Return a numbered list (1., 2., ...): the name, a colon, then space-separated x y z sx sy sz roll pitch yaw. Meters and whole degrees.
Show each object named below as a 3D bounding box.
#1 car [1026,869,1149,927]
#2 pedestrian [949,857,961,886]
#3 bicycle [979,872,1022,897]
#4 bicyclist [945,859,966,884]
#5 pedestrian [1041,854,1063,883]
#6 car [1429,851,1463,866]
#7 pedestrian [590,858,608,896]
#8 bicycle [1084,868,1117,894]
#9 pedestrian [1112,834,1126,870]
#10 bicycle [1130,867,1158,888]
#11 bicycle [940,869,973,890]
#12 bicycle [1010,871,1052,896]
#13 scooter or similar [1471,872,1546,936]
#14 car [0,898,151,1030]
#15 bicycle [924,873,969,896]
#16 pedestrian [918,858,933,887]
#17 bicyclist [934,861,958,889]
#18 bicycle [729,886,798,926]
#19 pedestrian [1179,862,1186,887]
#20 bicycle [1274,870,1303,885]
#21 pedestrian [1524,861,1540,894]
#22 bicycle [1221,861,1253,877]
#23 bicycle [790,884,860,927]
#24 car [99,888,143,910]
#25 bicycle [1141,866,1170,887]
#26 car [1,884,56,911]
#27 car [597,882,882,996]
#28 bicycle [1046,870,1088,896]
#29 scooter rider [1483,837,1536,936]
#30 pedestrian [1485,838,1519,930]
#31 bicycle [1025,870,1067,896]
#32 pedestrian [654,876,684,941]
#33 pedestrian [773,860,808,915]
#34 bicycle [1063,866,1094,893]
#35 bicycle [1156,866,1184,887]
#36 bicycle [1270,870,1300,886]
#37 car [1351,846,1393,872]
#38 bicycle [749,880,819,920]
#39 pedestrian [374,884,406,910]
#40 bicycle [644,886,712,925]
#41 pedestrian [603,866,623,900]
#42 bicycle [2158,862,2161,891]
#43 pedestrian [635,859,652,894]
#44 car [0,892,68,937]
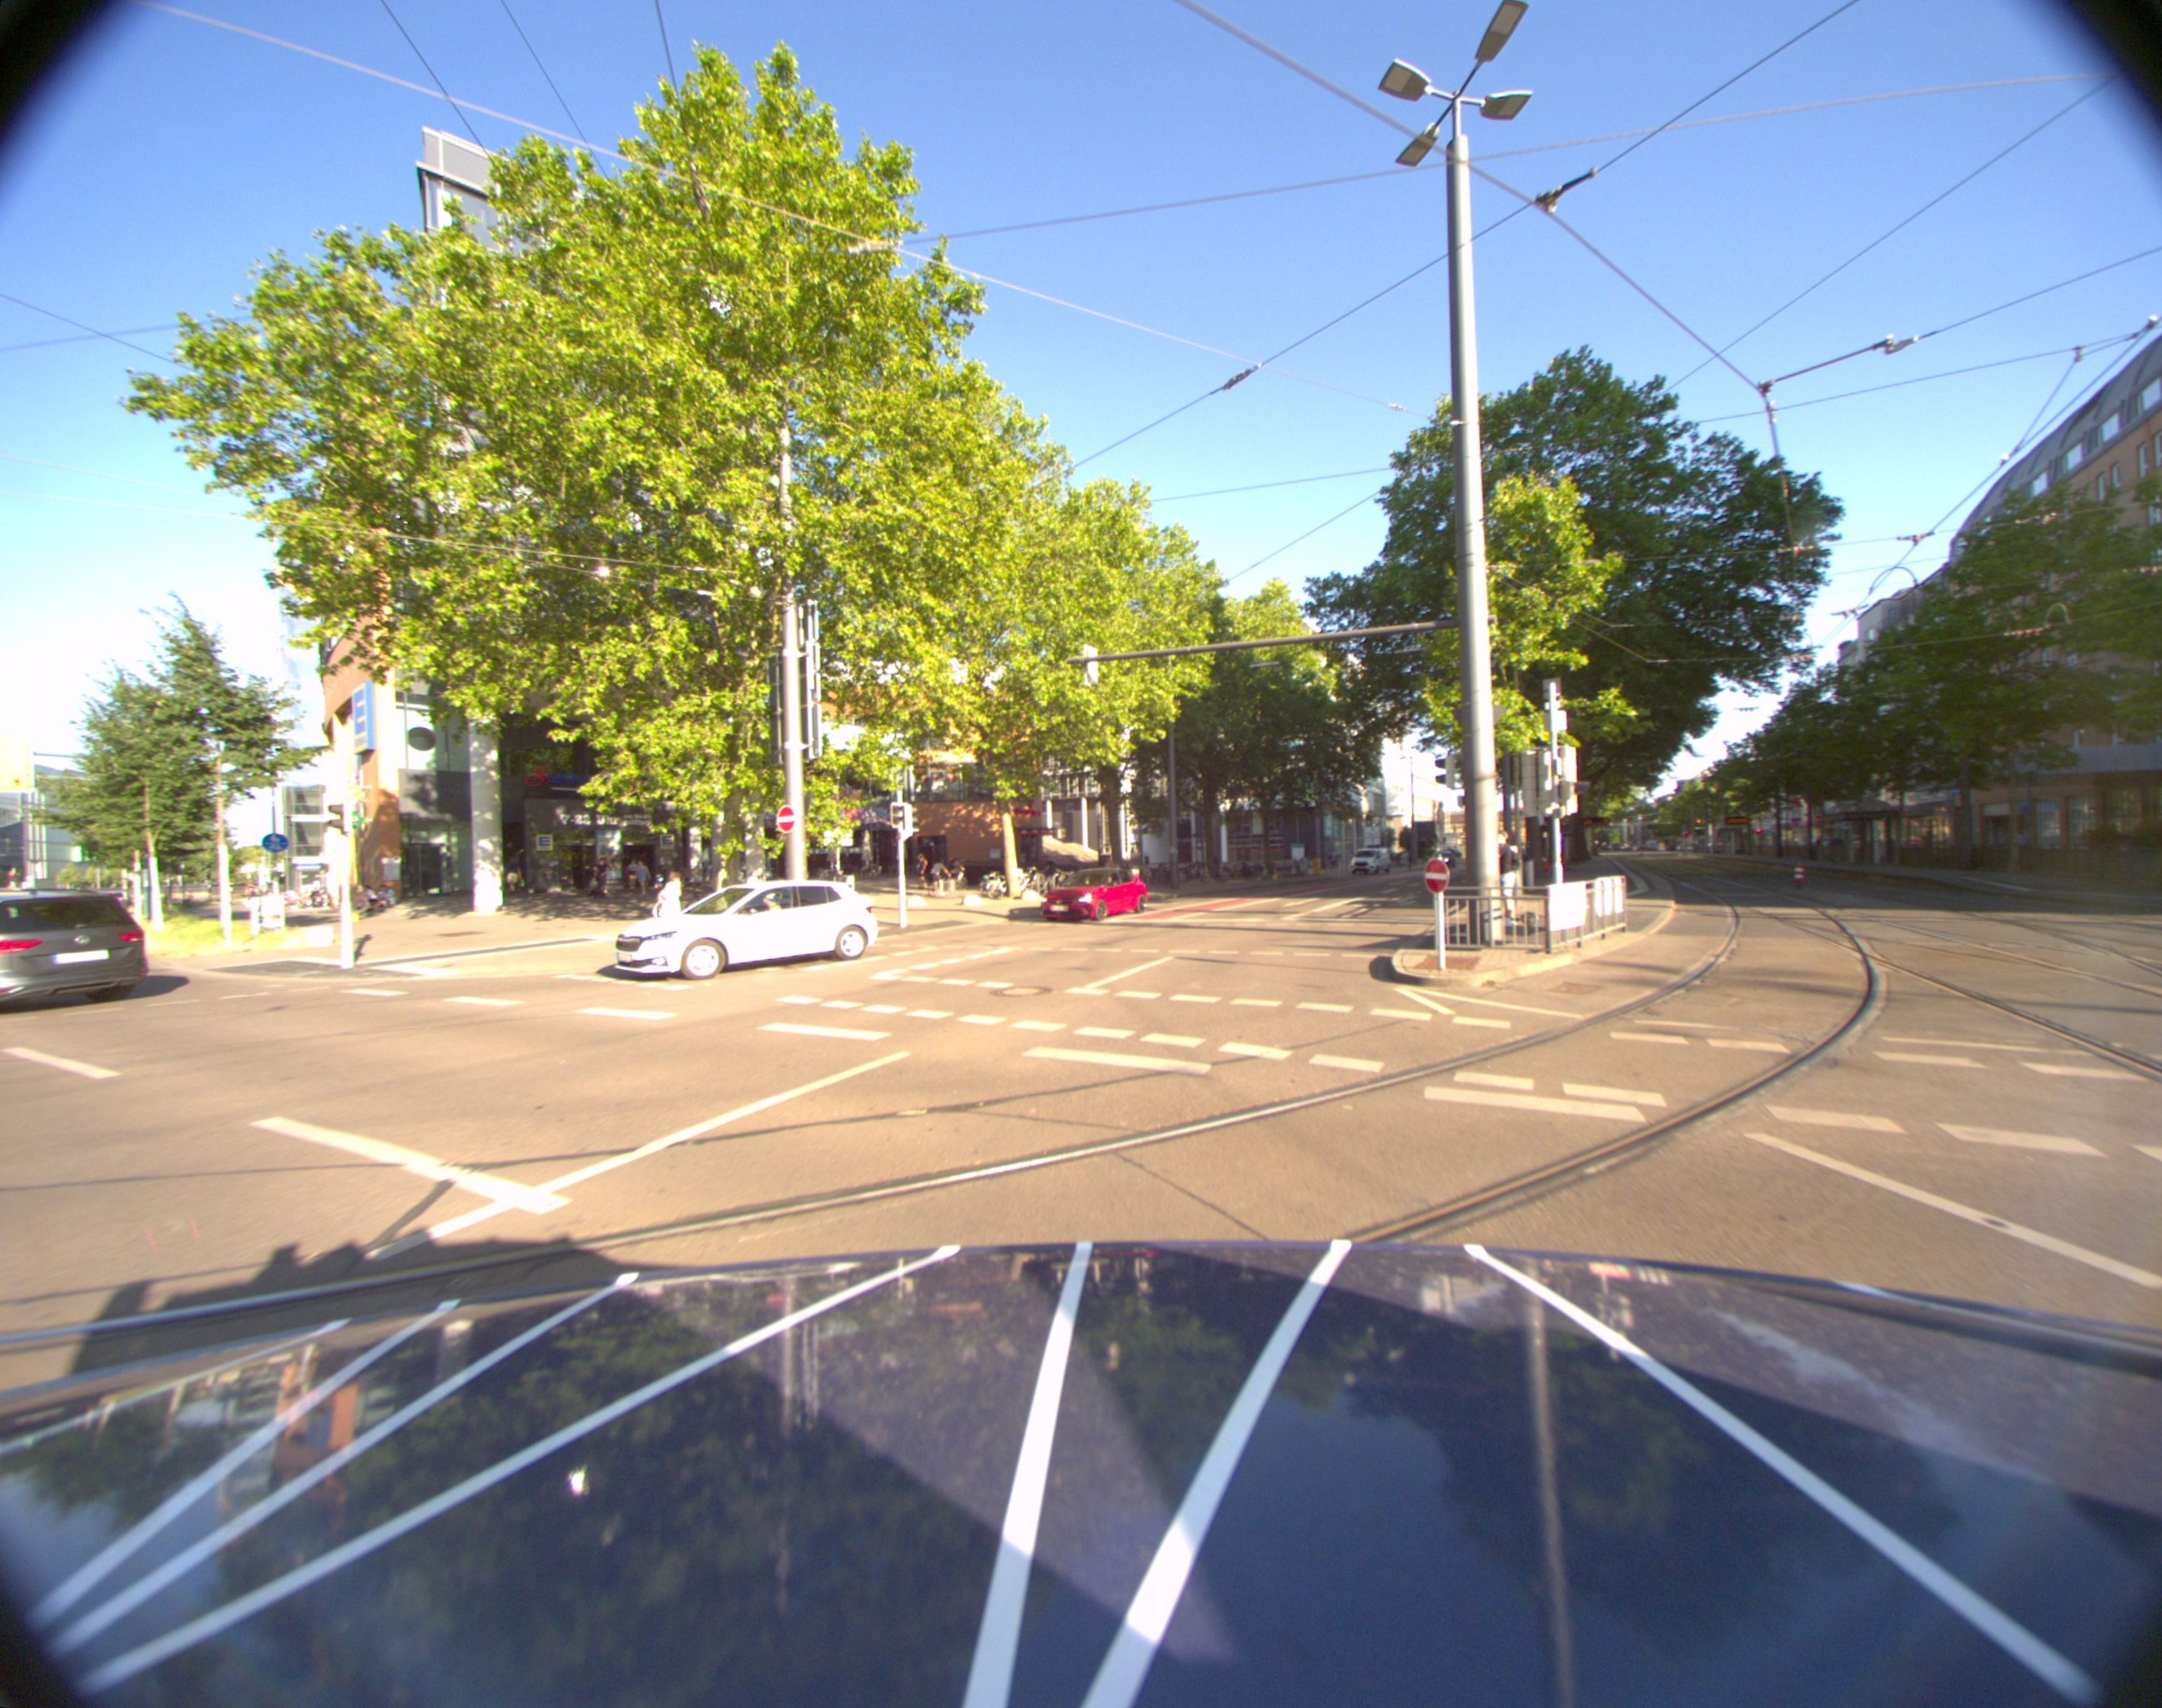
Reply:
1. car: 0.287 1.189 21.709 1.688 1.419 4.008 -2 -1 31
2. pedestrian: -7.367 1.005 44.512 0.544 1.659 0.569 -1 0 -26
3. bicycle: -3.559 1.348 33.799 0.781 1.057 1.951 -1 0 35
4. bicyclist: -6.611 0.908 39.985 0.673 1.292 0.960 -1 0 24
5. pedestrian: -1.537 0.754 40.471 0.764 1.533 0.877 -1 0 29
6. car: 35.577 0.413 73.978 1.688 1.419 4.008 -2 -1 45
7. pedestrian: -22.558 1.085 35.579 0.593 1.745 0.594 -1 0 -24
8. bicycle: 0.900 1.256 36.419 0.784 1.182 3.555 -1 -1 -11
9. pedestrian: 1.771 -0.085 35.309 0.570 1.659 0.544 -1 0 4
10. bicycle: 3.374 1.230 40.720 0.577 1.057 1.951 -1 0 35
11. bicycle: -6.561 1.345 40.078 0.694 1.061 2.018 -1 0 24
12. bicycle: -2.216 1.299 33.760 0.781 1.057 1.951 -1 0 35
13. scooter or similar: 8.094 0.927 14.403 1.157 1.172 0.456 -1 0 40
14. car: -15.402 1.446 10.122 4.171 1.593 1.619 -1 -2 2
15. bicycle: -6.421 1.449 36.298 2.018 1.061 0.694 -1 0 -29
16. pedestrian: -8.779 1.039 42.877 0.572 1.659 0.542 -1 0 -41
17. bicyclist: -6.457 0.991 36.287 0.960 1.336 0.673 -1 0 -28
18. bicycle: -9.735 1.572 23.363 0.773 1.123 1.847 -1 0 31
19. pedestrian: 6.427 1.315 48.226 0.410 1.546 0.448 -1 0 5
20. bicycle: 14.917 1.696 54.703 1.942 1.057 0.579 -1 0 27
21. pedestrian: 14.238 0.740 23.970 0.405 1.026 0.379 -1 0 28
22. bicycle: 10.223 0.986 49.866 1.942 1.057 0.579 -1 0 27
23. bicycle: -7.443 1.469 22.189 0.773 1.123 1.847 -1 0 31
24. car: -76.974 3.601 60.989 3.989 1.584 1.797 -2 0 44
25. bicycle: 3.955 1.199 40.182 0.577 1.057 1.951 -1 0 35
26. car: -85.667 3.522 61.918 1.615 2.002 3.876 -1 0 -38
27. car: -5.518 1.275 12.704 1.631 1.443 4.008 -2 -1 39
28. bicycle: -0.579 1.225 32.868 0.781 1.057 1.951 -1 0 35
29. scooter rider: 8.095 0.602 14.362 0.761 1.822 0.590 -1 0 39
30. pedestrian: 8.406 0.589 15.178 0.568 1.785 0.674 -1 0 29
31. bicycle: -1.497 1.265 33.286 0.781 1.057 1.951 -1 0 35
32. pedestrian: -9.906 1.301 18.277 0.573 1.529 0.483 -1 0 -24
33. pedestrian: -9.467 1.090 24.755 0.894 1.754 0.729 -1 -1 -31
34. bicycle: -0.146 1.192 35.859 0.784 1.182 3.555 -1 -1 -11
35. bicycle: 4.648 1.166 39.738 0.577 1.057 1.951 -1 0 35
36. bicycle: 14.116 1.684 52.539 1.942 1.057 0.579 -1 0 27
37. car: 23.284 0.375 60.679 1.967 1.934 4.976 -2 -1 35
38. bicycle: -8.954 1.364 22.964 0.773 1.123 1.847 -1 0 31
39. pedestrian: -29.347 1.808 32.282 0.680 1.074 0.778 -1 0 23
40. bicycle: -11.957 1.510 22.581 0.547 1.030 1.703 -1 0 35
41. pedestrian: -23.301 1.445 37.819 0.561 1.647 0.593 -1 0 1
42. bicycle: 37.718 0.802 25.722 0.612 1.012 2.158 -1 0 31
43. pedestrian: -21.099 1.089 36.645 0.596 1.647 0.591 -1 0 -37
44. car: -41.875 2.371 29.878 4.252 1.622 1.869 -2 -1 29
